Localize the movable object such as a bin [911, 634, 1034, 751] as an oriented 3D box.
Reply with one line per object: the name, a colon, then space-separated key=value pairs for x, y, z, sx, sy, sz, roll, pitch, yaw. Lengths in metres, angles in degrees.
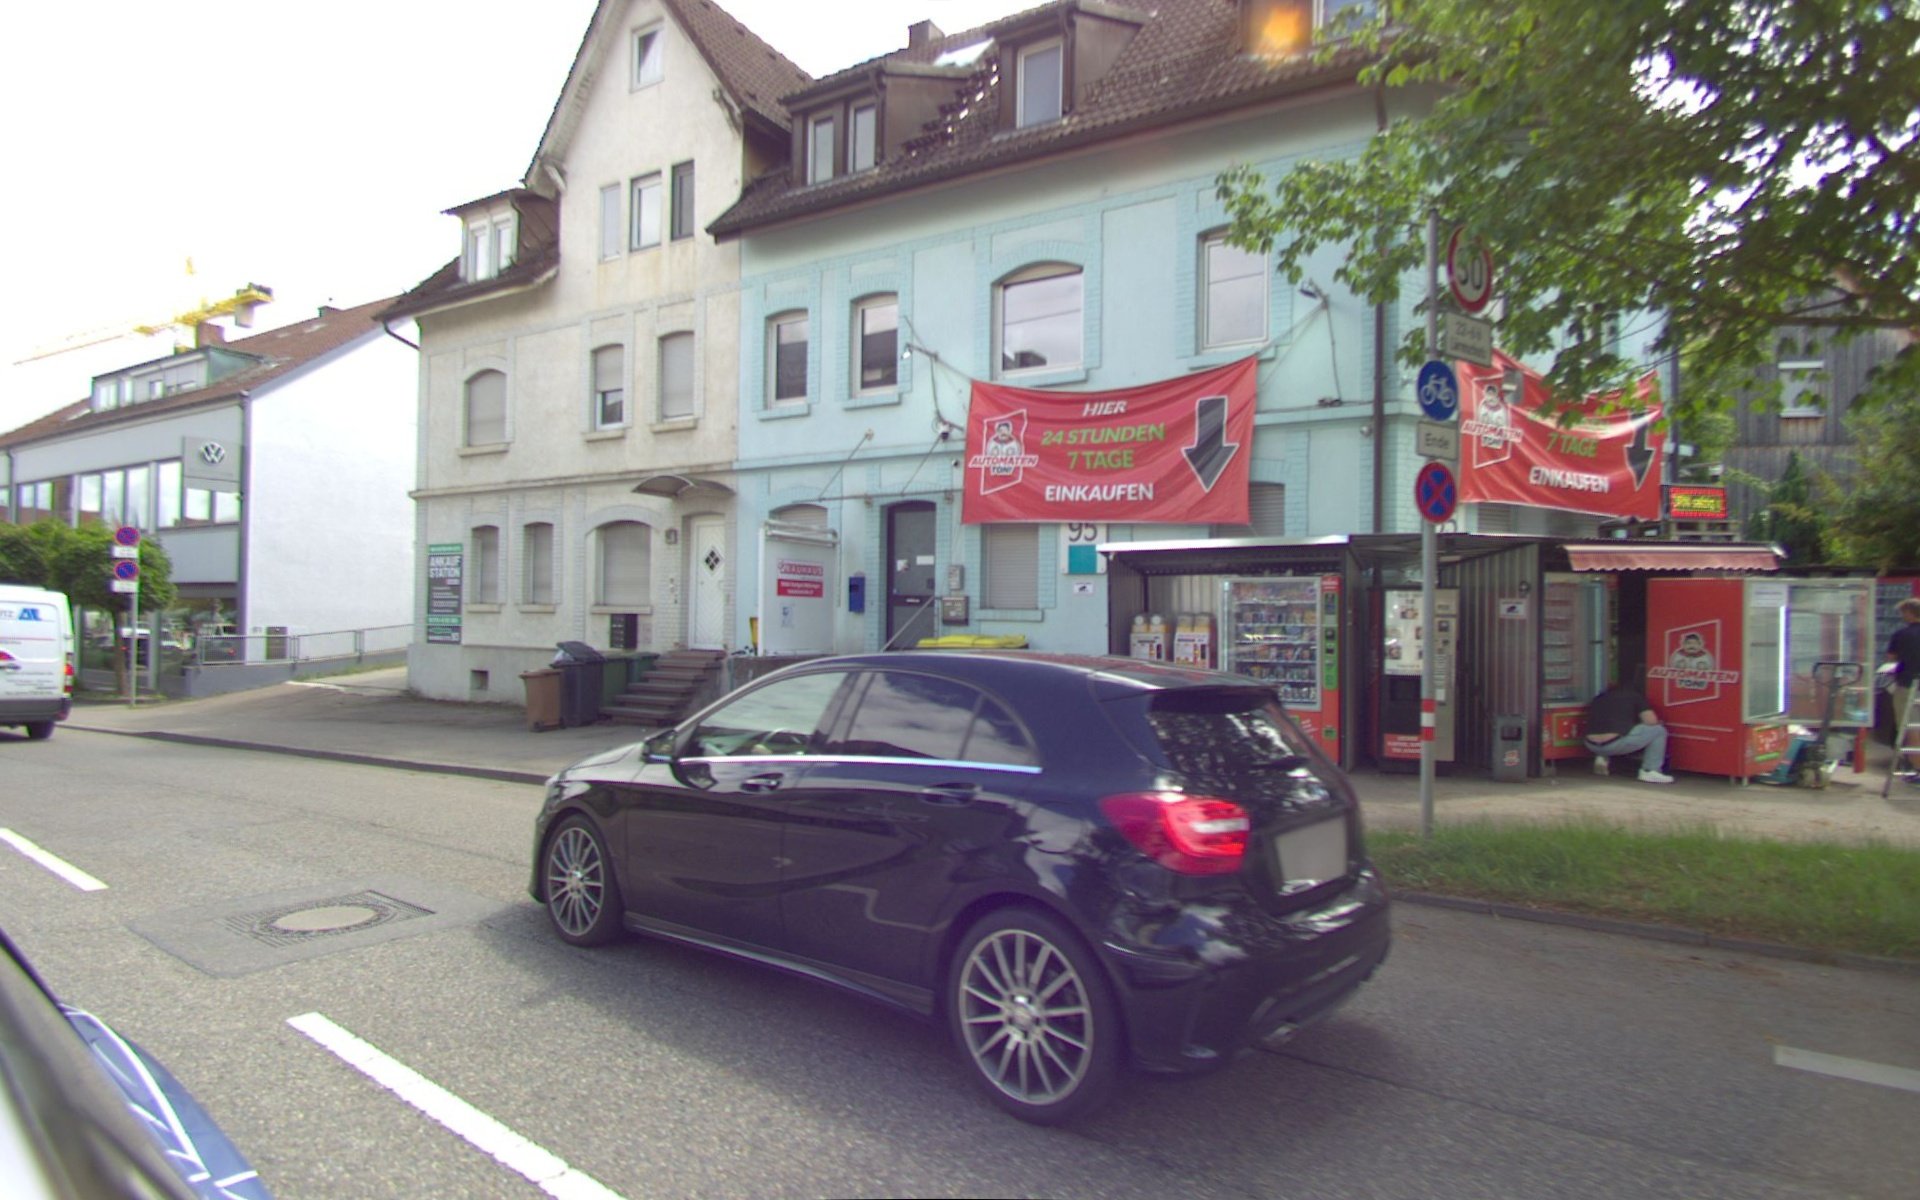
movable object such as a bin: x=0.166 y=1.141 z=12.928 sx=1.242 sy=1.365 sz=1.013 roll=0 pitch=0 yaw=30

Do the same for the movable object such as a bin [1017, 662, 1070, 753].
movable object such as a bin: x=1.025 y=1.296 z=12.379 sx=0.516 sy=1.048 sz=0.430 roll=0 pitch=-1 yaw=30

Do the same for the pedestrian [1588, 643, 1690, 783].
pedestrian: x=6.623 y=1.074 z=9.905 sx=0.736 sy=1.281 sz=0.620 roll=0 pitch=0 yaw=26

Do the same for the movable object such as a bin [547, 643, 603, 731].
movable object such as a bin: x=-5.907 y=1.322 z=15.546 sx=0.560 sy=1.282 sz=0.561 roll=-1 pitch=0 yaw=27

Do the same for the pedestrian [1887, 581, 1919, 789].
pedestrian: x=9.158 y=0.781 z=9.420 sx=0.560 sy=1.910 sz=0.621 roll=0 pitch=0 yaw=20

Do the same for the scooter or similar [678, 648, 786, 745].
scooter or similar: x=-3.118 y=1.293 z=13.942 sx=0.544 sy=1.193 sz=1.542 roll=0 pitch=0 yaw=31

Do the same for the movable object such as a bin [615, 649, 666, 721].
movable object such as a bin: x=-5.269 y=1.391 z=16.706 sx=0.560 sy=1.109 sz=0.561 roll=0 pitch=0 yaw=27

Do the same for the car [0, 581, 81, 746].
car: x=-16.112 y=0.980 z=15.882 sx=5.167 sy=2.372 sz=2.046 roll=-2 pitch=-5 yaw=33

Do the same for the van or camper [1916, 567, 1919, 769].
van or camper: x=11.238 y=0.665 z=8.442 sx=1.759 sy=2.009 sz=4.394 roll=1 pitch=-1 yaw=-23

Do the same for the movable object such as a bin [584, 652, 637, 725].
movable object such as a bin: x=-5.597 y=1.403 z=16.213 sx=0.560 sy=1.109 sz=0.561 roll=0 pitch=0 yaw=27

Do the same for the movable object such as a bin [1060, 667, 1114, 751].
movable object such as a bin: x=1.516 y=1.287 z=12.087 sx=0.516 sy=0.939 sz=0.443 roll=0 pitch=0 yaw=30

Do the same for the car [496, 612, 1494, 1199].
car: x=-0.208 y=0.877 z=4.411 sx=4.225 sy=1.493 sz=1.669 roll=-1 pitch=-5 yaw=42
